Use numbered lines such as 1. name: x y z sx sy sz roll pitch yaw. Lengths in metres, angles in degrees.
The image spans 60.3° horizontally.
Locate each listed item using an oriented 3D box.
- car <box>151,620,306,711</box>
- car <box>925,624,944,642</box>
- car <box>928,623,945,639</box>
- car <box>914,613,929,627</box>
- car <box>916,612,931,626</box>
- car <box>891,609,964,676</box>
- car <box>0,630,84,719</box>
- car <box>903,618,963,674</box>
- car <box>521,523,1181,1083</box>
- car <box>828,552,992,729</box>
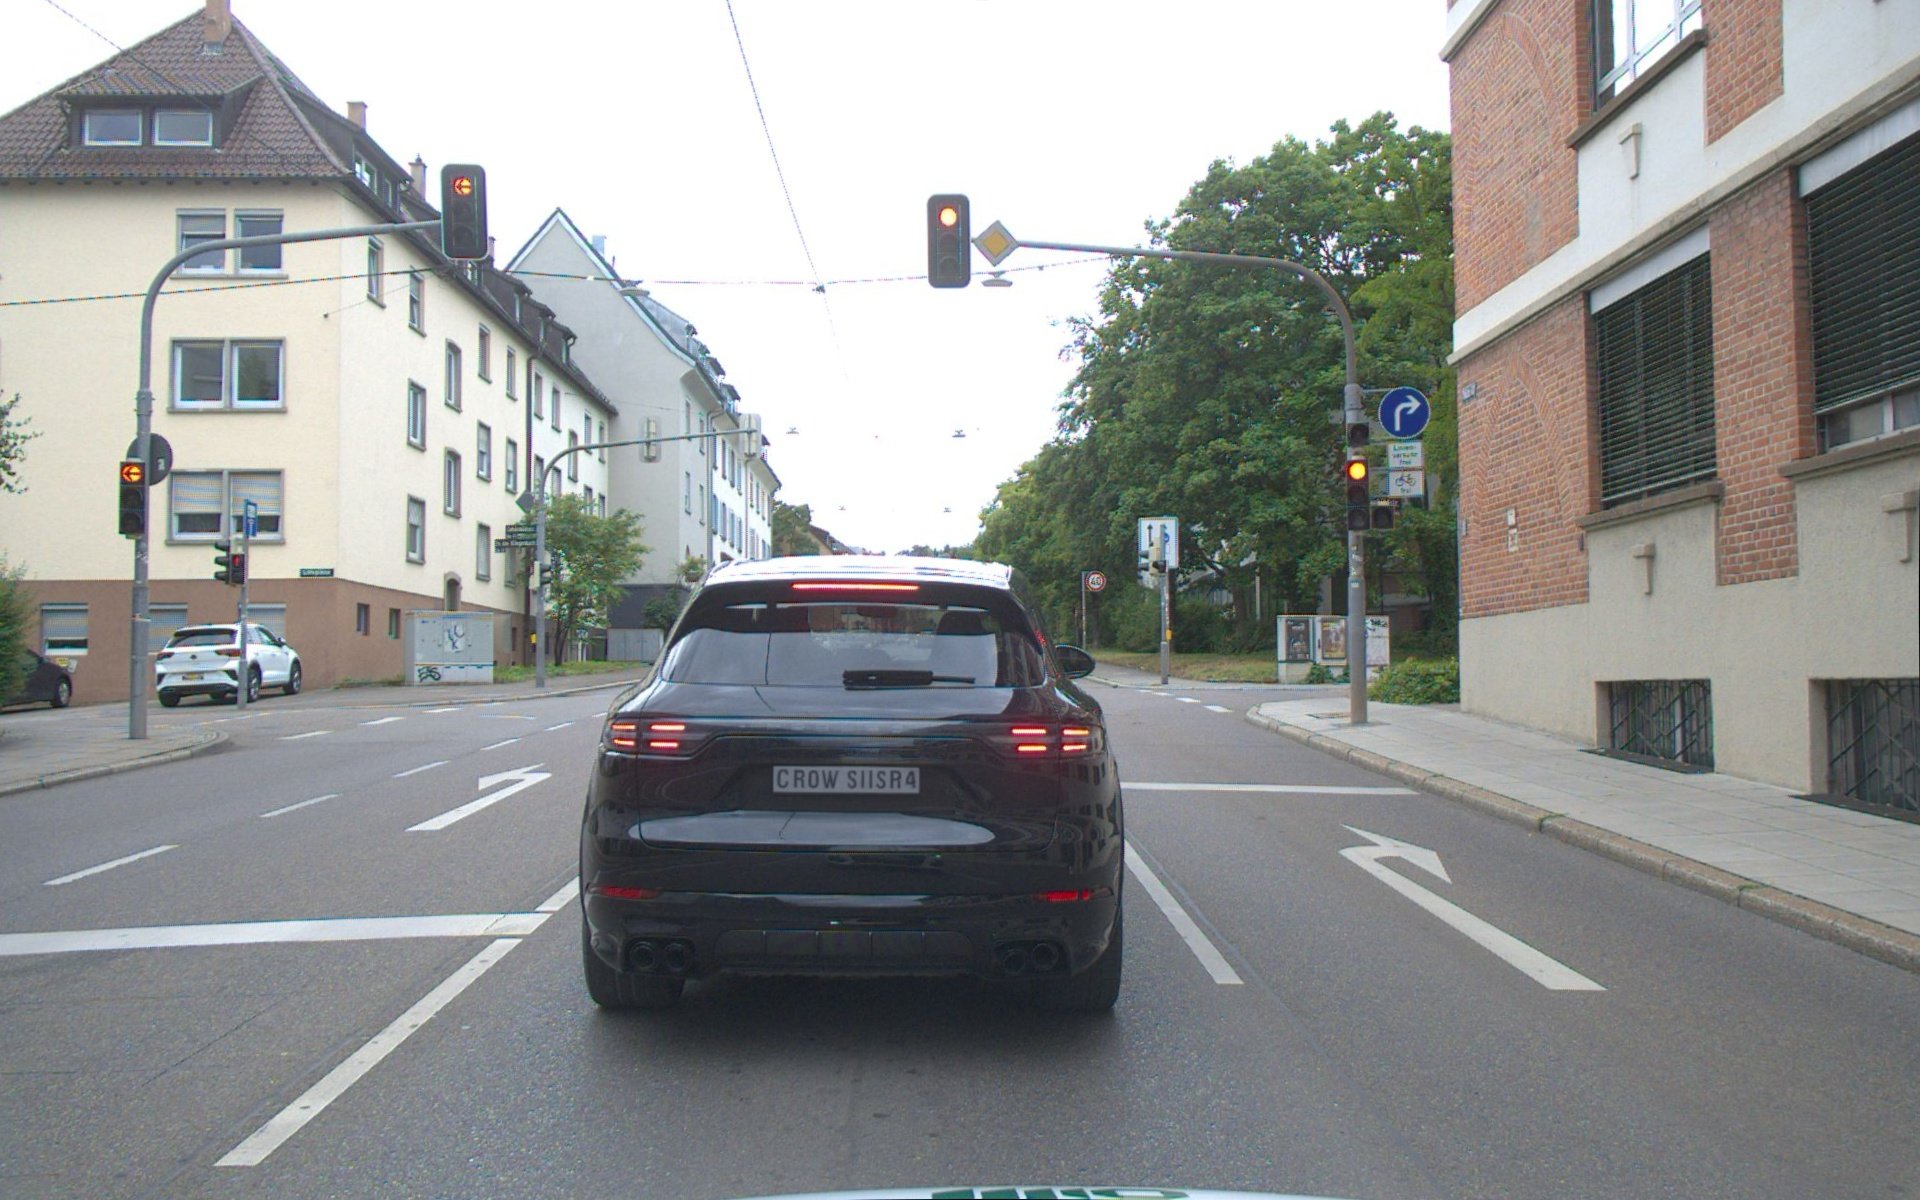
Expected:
1. car: -14.722 1.274 33.490 1.658 1.582 3.762 -3 0 -5
2. car: -2.530 3.286 163.224 1.790 1.633 4.134 1 0 -1
3. car: -2.603 3.453 182.396 1.790 1.633 4.134 1 0 -1
4. car: -4.722 2.477 202.839 1.790 1.633 4.134 1 0 -1
5. car: -4.650 2.427 210.167 1.790 1.633 4.134 1 0 -1
6. car: -0.838 1.078 43.797 1.790 1.633 4.134 1 0 -1
7. car: -19.628 1.519 33.762 1.658 1.636 3.762 -3 0 -5
8. car: -0.844 1.433 52.509 1.790 1.633 3.858 1 0 -1
9. car: -0.352 0.623 7.239 2.007 1.695 4.266 1 0 -1
10. car: -0.617 0.478 21.885 1.925 2.078 4.134 1 0 -1
